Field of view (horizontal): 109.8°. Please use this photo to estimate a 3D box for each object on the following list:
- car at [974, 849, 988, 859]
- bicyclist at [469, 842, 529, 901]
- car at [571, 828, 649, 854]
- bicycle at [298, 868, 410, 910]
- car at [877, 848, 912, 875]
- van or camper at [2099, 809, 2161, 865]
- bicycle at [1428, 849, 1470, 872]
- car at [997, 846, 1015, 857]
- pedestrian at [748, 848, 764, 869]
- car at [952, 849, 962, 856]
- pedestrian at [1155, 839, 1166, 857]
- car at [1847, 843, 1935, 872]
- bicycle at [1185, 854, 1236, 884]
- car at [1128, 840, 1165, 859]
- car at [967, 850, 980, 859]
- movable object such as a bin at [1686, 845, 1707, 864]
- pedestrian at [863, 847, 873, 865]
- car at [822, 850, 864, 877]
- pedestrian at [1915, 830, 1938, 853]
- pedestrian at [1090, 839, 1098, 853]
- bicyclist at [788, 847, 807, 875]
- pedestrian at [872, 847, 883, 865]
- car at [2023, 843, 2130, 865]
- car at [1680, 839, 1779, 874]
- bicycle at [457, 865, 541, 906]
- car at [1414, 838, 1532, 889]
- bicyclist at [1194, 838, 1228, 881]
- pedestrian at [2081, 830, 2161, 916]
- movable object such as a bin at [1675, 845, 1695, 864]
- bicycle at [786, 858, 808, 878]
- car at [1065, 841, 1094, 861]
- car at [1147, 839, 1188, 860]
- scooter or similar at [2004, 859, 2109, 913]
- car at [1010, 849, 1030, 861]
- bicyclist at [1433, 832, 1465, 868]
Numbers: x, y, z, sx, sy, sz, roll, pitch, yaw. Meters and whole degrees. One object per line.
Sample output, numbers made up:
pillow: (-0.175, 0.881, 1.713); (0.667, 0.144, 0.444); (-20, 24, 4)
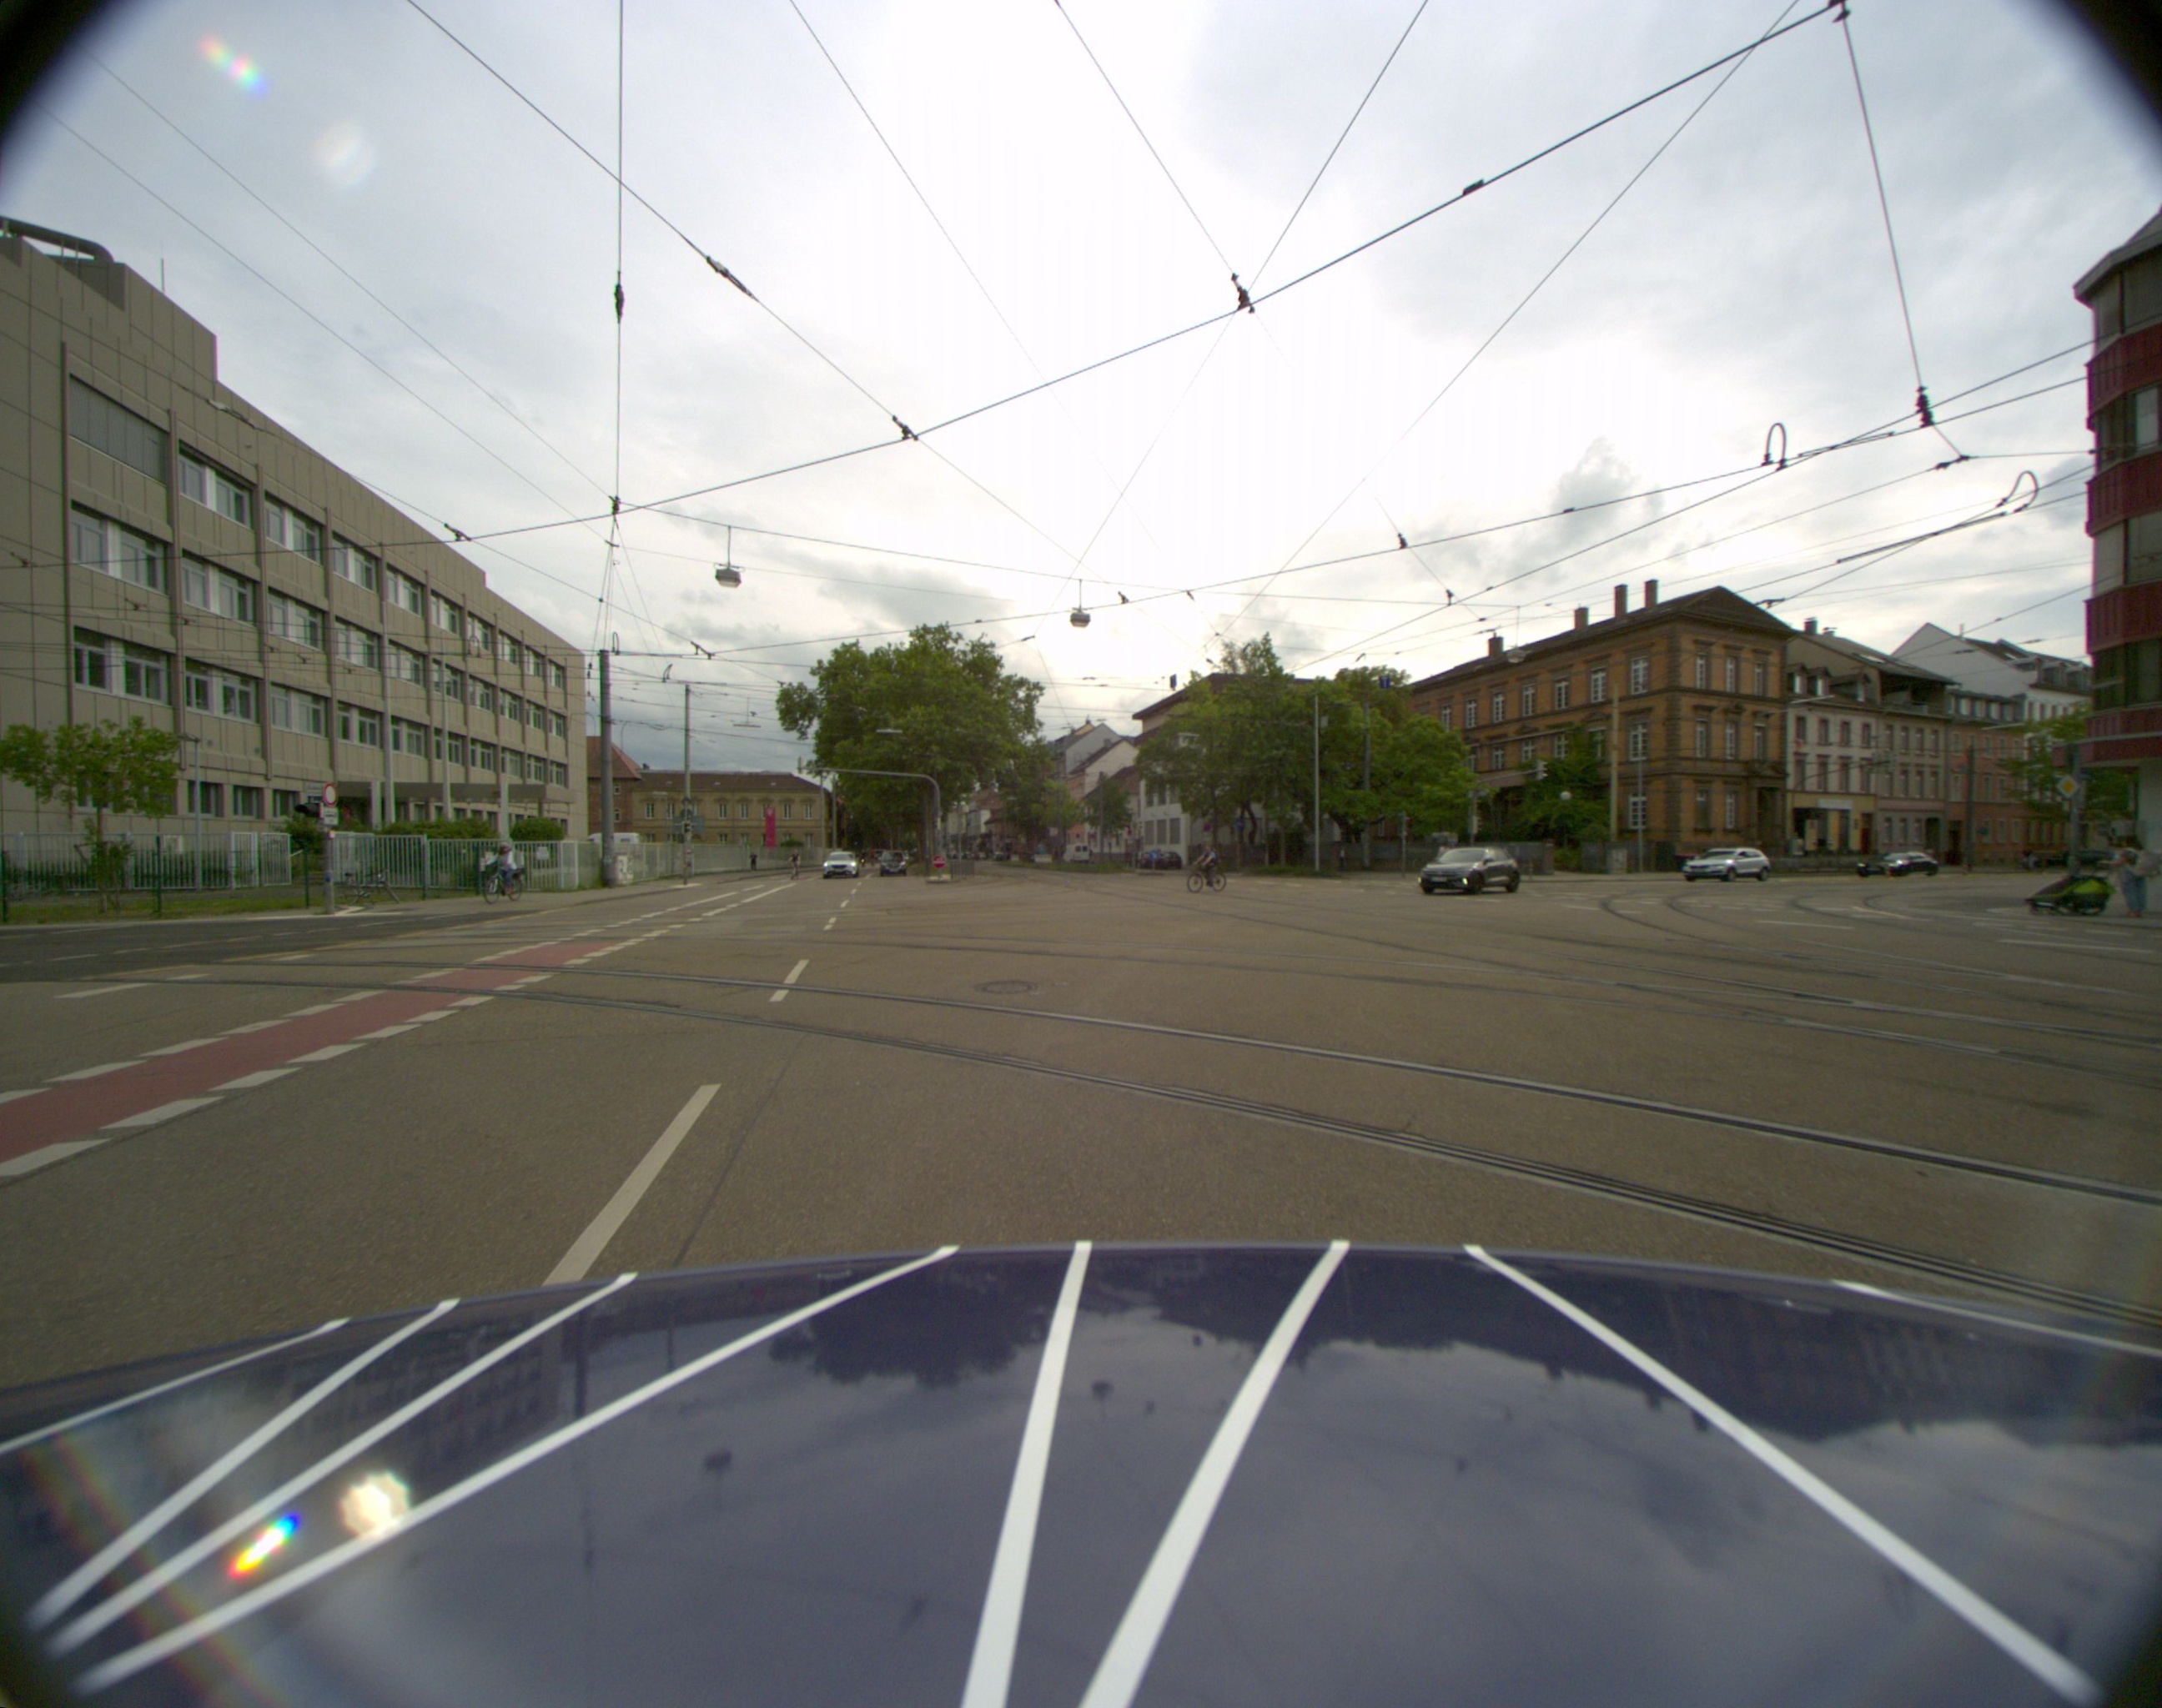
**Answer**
car: (-19.600, 0.003, 149.438); (2.099, 1.797, 4.414); (0, 1, -16)
bicyclist: (-17.094, 0.485, 22.352); (0.802, 1.692, 1.182); (0, 1, -1)
car: (-44.855, -1.200, 72.530); (5.904, 2.385, 2.564); (0, 1, -19)
bicycle: (-20.710, 0.976, 21.697); (0.632, 0.975, 2.161); (0, 4, 28)
car: (-11.191, 0.400, 45.844); (1.837, 1.557, 4.415); (0, 1, -11)
van or camper: (69.419, -1.066, 48.569); (9.662, 3.401, 2.604); (-1, 1, -21)
bicycle: (18.328, 0.296, 37.889); (0.751, 1.080, 2.013); (-1, 1, -15)
car: (-12.463, -0.504, 126.093); (2.099, 1.797, 4.414); (0, 1, -16)
pedestrian: (-24.339, 0.331, 56.938); (0.884, 1.560, 0.979); (0, 1, -9)
car: (-30.244, -0.381, 184.990); (2.099, 1.855, 4.414); (0, 1, -15)
pedestrian: (7.473, -0.557, 71.618); (0.769, 1.641, 0.765); (-1, 1, -15)
car: (44.810, 0.192, 42.051); (4.052, 1.526, 1.772); (-1, 0, -18)
bicycle: (4.630, 0.525, 27.121); (1.803, 1.012, 0.713); (-2, 2, -32)
car: (5.608, -0.410, 65.934); (1.761, 1.527, 4.414); (0, 1, -16)
car: (-22.793, 0.017, 161.202); (2.099, 1.797, 4.414); (0, 1, -16)
movable object such as a bin: (36.154, 0.009, 44.650); (0.702, 1.077, 0.663); (-1, 5, -25)
pedestrian: (-21.830, 0.165, 77.927); (0.836, 1.854, 1.175); (0, 1, -6)
car: (-13.668, 0.502, 43.821); (2.001, 1.496, 4.414); (0, 1, -14)
pedestrian: (61.446, -0.922, 55.230); (0.927, 1.680, 0.731); (-1, 5, -22)
pedestrian: (1.602, -0.967, 91.698); (0.769, 1.771, 0.765); (-1, 2, -15)
bicyclist: (-16.153, 0.393, 43.262); (0.803, 1.541, 1.327); (0, 1, -12)
pedestrian: (-20.921, 0.165, 78.061); (0.836, 1.854, 1.251); (0, 1, -6)
car: (74.091, -0.004, 56.668); (4.614, 1.465, 1.793); (3, 3, 45)
car: (31.064, 0.111, 36.391); (4.286, 1.581, 1.772); (-1, 0, -21)
bicycle: (-17.091, 0.891, 22.402); (0.802, 1.080, 2.184); (0, 1, 0)
car: (13.100, 0.264, 25.306); (4.290, 1.539, 1.769); (0, 1, -37)
bicyclist: (4.640, 0.184, 27.117); (0.920, 1.499, 0.714); (-2, 3, -32)
pedestrian: (21.731, 0.376, 15.800); (0.813, 1.733, 0.948); (-1, 1, -24)
movable object such as a bin: (35.419, 0.014, 44.548); (0.678, 1.077, 0.651); (-2, 5, -25)
bicycle: (-16.152, 0.779, 43.247); (0.803, 1.080, 2.559); (0, 1, -12)
car: (-0.203, -0.301, 84.951); (2.099, 2.177, 4.414); (0, 1, -16)
car: (6.955, -0.373, 61.284); (1.738, 1.552, 4.414); (0, 1, -16)
scooter or similar: (21.351, 0.685, 16.650); (0.948, 1.122, 1.197); (0, 0, -23)
car: (-9.335, 0.119, 116.074); (2.099, 1.797, 4.414); (0, 1, -16)
bicyclist: (18.332, -0.206, 37.876); (0.748, 1.751, 1.251); (-1, 1, -16)
